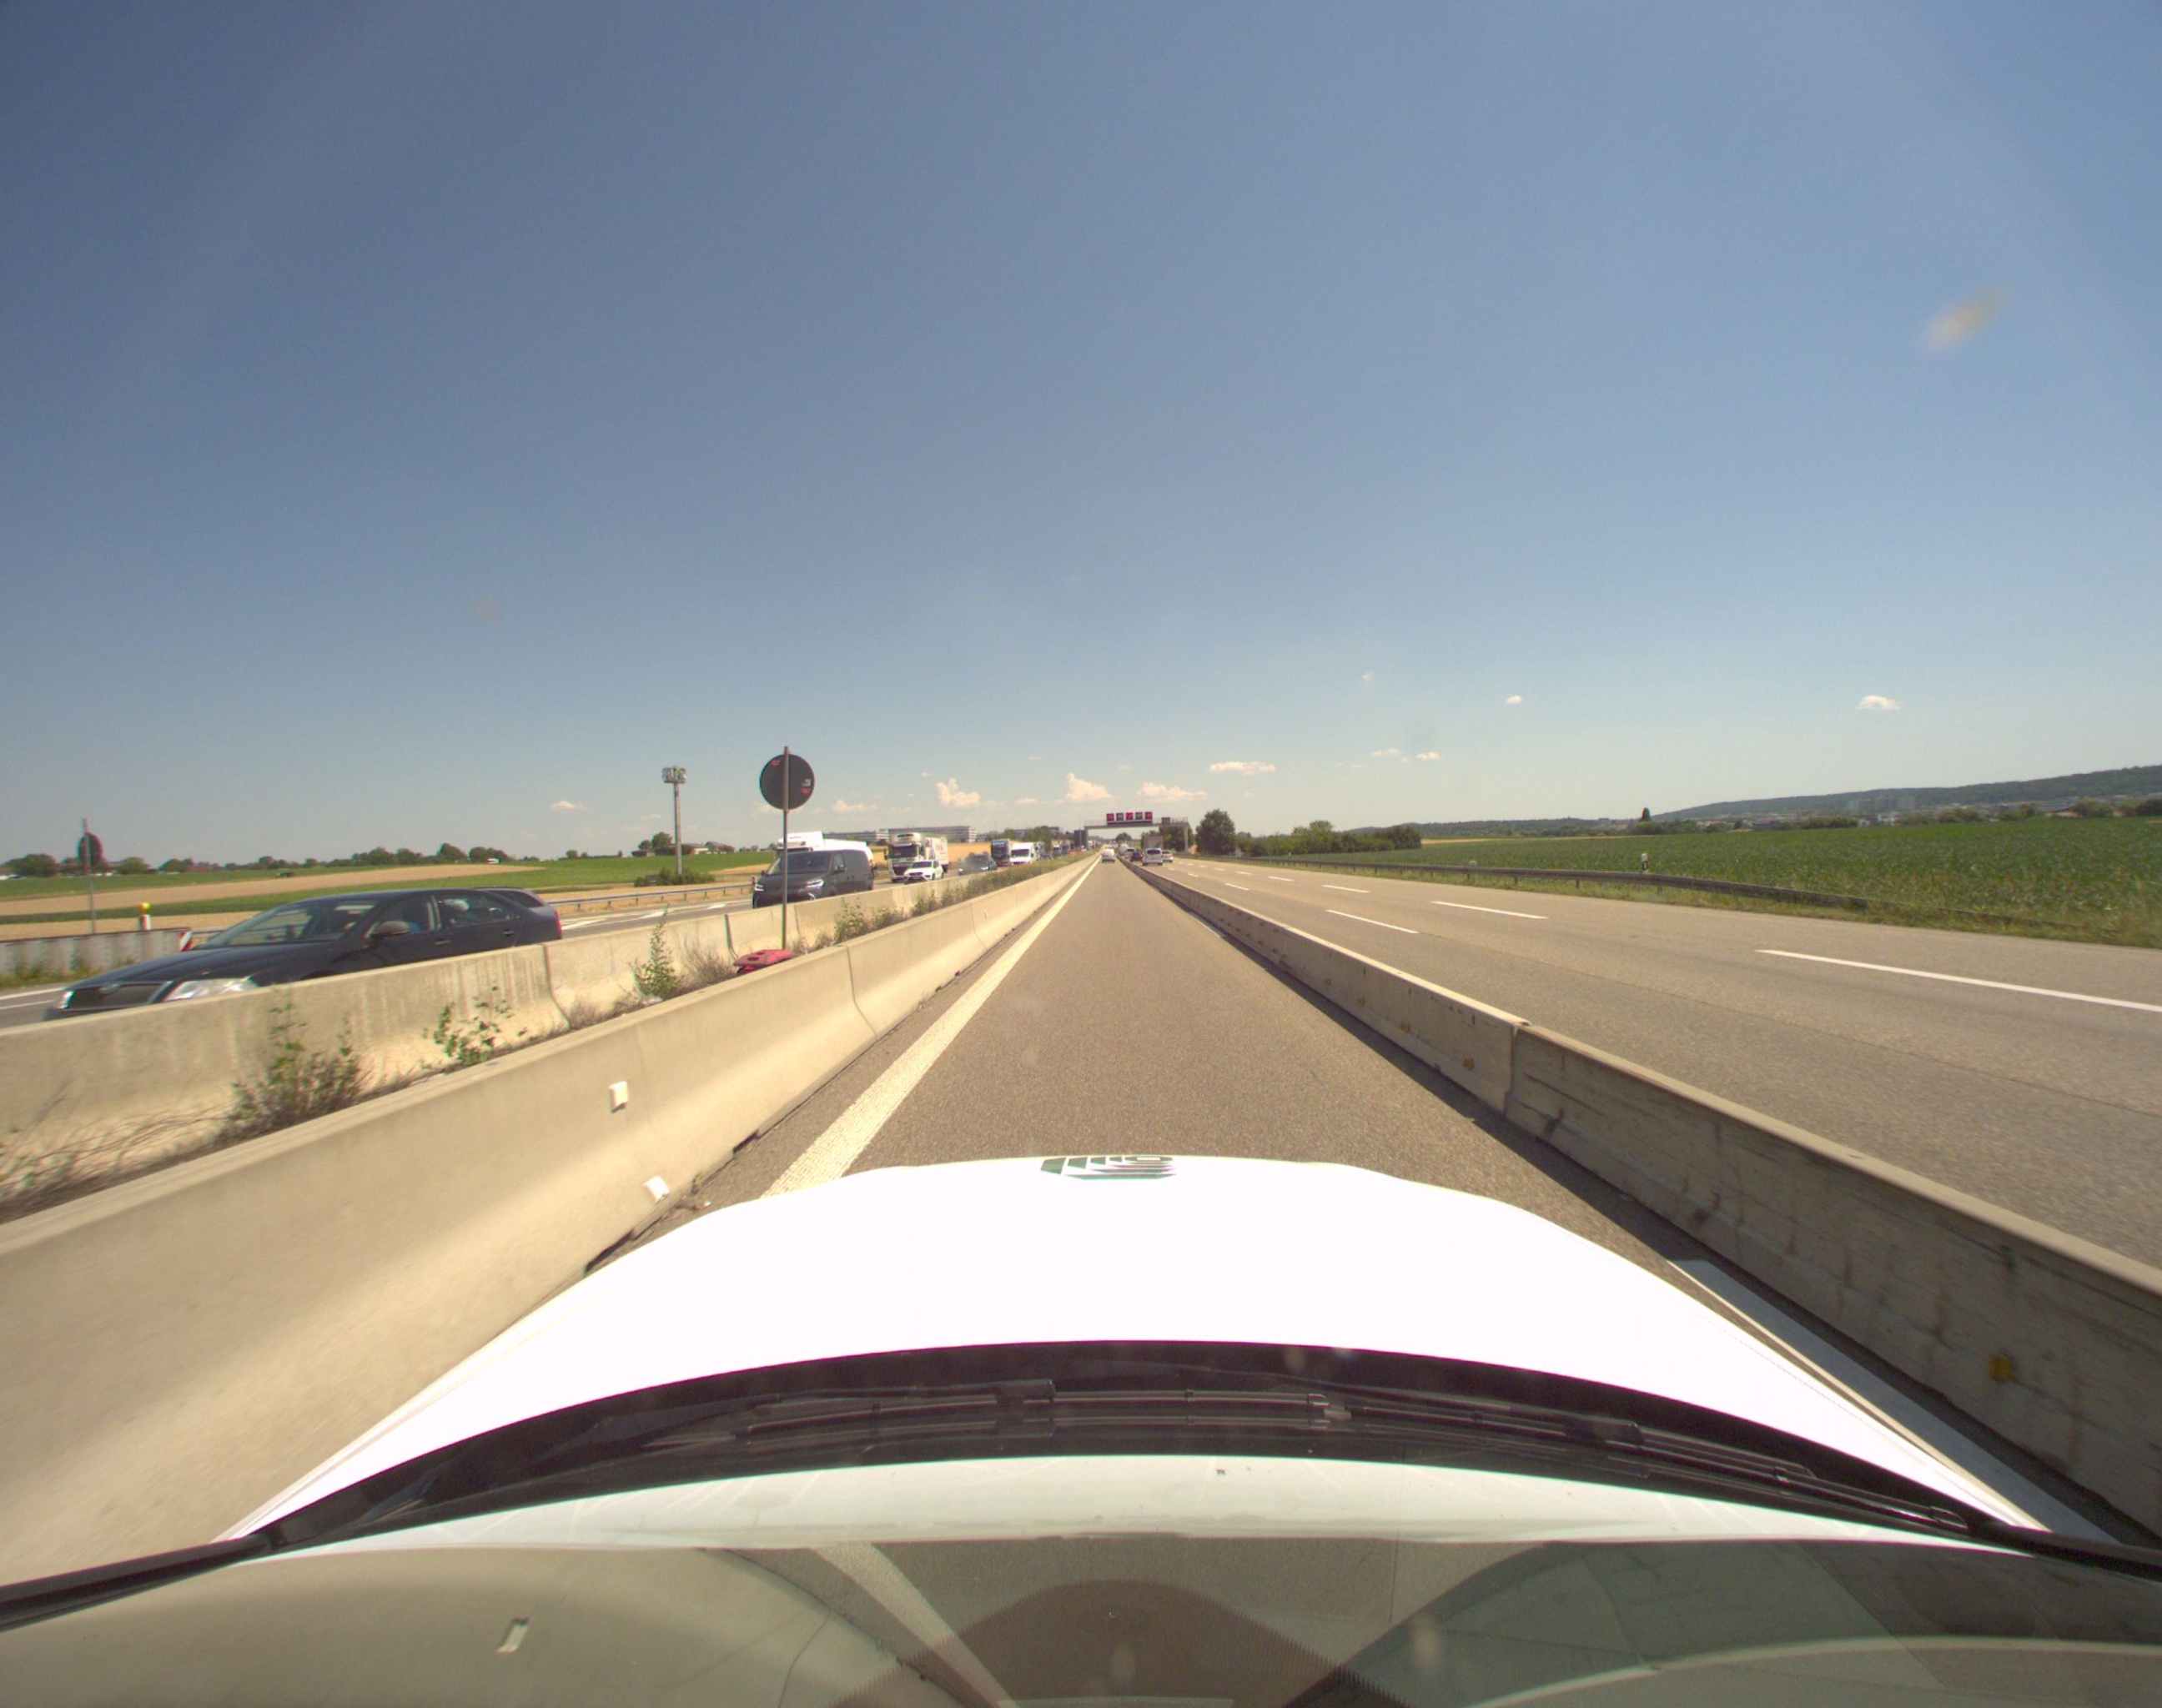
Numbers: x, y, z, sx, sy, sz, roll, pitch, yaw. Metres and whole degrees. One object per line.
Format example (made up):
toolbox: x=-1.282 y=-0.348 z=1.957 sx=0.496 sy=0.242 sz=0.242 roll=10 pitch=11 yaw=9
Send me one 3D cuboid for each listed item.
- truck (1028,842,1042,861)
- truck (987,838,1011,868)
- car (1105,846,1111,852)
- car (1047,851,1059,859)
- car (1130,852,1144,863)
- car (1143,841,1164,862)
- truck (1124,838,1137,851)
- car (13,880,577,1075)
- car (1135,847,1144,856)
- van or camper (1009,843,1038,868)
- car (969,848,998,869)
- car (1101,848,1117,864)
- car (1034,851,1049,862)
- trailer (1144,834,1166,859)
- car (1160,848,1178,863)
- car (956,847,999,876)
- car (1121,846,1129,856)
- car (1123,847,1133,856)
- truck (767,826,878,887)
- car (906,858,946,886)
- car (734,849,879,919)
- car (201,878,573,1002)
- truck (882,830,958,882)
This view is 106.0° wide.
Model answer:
truck: x=-9.812 y=-0.560 z=174.486 sx=2.402 sy=4.086 sz=4.662 roll=-2 pitch=0 yaw=2
truck: x=-11.916 y=-0.205 z=118.793 sx=2.800 sy=4.128 sz=4.843 roll=-2 pitch=0 yaw=1
car: x=8.268 y=-1.565 z=248.718 sx=1.986 sy=1.835 sz=4.002 roll=-1 pitch=0 yaw=2
car: x=-4.645 y=0.209 z=135.134 sx=1.772 sy=1.335 sz=4.930 roll=0 pitch=-1 yaw=1
car: x=7.673 y=0.431 z=111.440 sx=1.767 sy=1.447 sz=4.001 roll=-1 pitch=0 yaw=2
car: x=7.794 y=-0.241 z=88.028 sx=1.986 sy=2.120 sz=4.001 roll=-1 pitch=0 yaw=2
truck: x=16.111 y=-3.060 z=265.072 sx=3.802 sy=3.904 sz=9.583 roll=-2 pitch=0 yaw=1
car: x=-7.514 y=1.044 z=8.546 sx=1.649 sy=1.351 sz=4.268 roll=-1 pitch=0 yaw=2
car: x=13.949 y=-0.652 z=195.563 sx=1.986 sy=2.014 sz=4.001 roll=-1 pitch=0 yaw=2
van or camper: x=-5.225 y=0.134 z=74.992 sx=2.028 sy=2.221 sz=7.210 roll=0 pitch=0 yaw=1
car: x=-8.863 y=0.380 z=74.771 sx=1.880 sy=1.709 sz=5.522 roll=-4 pitch=0 yaw=0
car: x=3.818 y=0.285 z=111.044 sx=1.986 sy=2.014 sz=4.001 roll=-1 pitch=0 yaw=2
car: x=-5.353 y=0.303 z=109.864 sx=1.592 sy=1.469 sz=4.534 roll=-2 pitch=0 yaw=1
trailer: x=12.674 y=-1.249 z=139.927 sx=3.265 sy=3.967 sz=9.116 roll=-1 pitch=0 yaw=2
car: x=11.394 y=0.184 z=106.148 sx=1.986 sy=1.794 sz=4.001 roll=-1 pitch=0 yaw=2
car: x=-6.114 y=0.434 z=48.410 sx=1.775 sy=1.589 sz=4.543 roll=-1 pitch=0 yaw=2
car: x=10.111 y=-0.694 z=188.156 sx=1.767 sy=2.392 sz=4.001 roll=-1 pitch=-1 yaw=2
car: x=8.401 y=-0.395 z=145.990 sx=1.767 sy=1.447 sz=4.001 roll=-1 pitch=0 yaw=2
truck: x=-18.555 y=0.158 z=59.834 sx=2.887 sy=3.776 sz=13.301 roll=-4 pitch=0 yaw=4
car: x=-9.835 y=1.094 z=51.955 sx=1.552 sy=1.622 sz=4.048 roll=-2 pitch=0 yaw=3
car: x=-7.067 y=0.689 z=21.646 sx=1.836 sy=1.569 sz=5.347 roll=-1 pitch=0 yaw=2
car: x=-11.044 y=1.251 z=13.608 sx=1.839 sy=1.482 sz=4.924 roll=-1 pitch=0 yaw=2
truck: x=-12.793 y=0.107 z=66.351 sx=2.784 sy=3.609 sz=13.296 roll=-4 pitch=0 yaw=2
